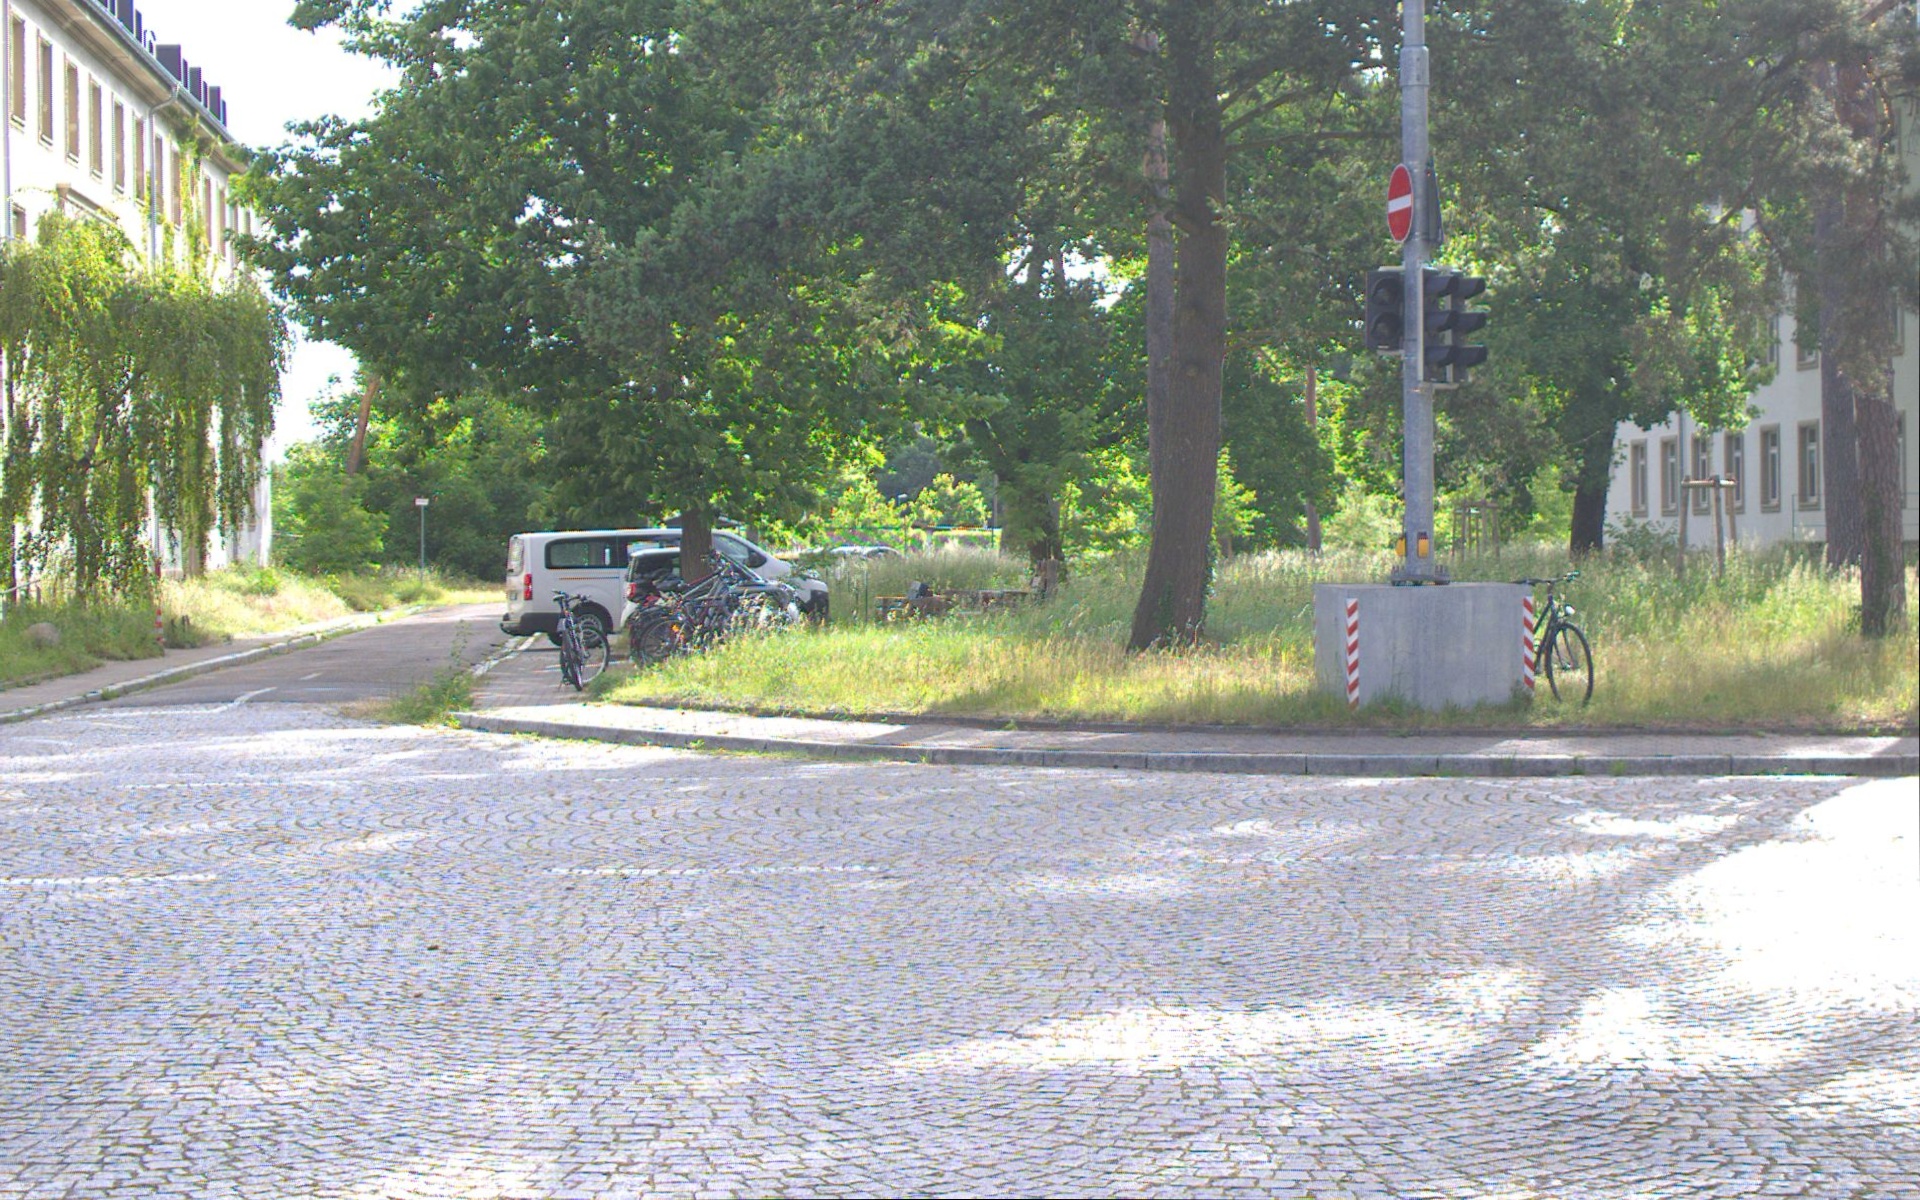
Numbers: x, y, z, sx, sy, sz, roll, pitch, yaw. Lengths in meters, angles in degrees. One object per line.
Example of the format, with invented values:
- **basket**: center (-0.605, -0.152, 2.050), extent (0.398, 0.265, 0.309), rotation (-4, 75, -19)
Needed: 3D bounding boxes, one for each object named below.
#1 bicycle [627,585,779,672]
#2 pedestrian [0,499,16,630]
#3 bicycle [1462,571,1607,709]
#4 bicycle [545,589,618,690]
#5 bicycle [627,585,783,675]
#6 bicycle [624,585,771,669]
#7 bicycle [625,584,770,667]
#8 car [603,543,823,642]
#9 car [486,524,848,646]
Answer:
- **bicycle**: center (-3.100, 0.338, 41.414), extent (1.792, 0.995, 0.644), rotation (-1, 2, -6)
- **pedestrian**: center (-14.812, -0.532, 51.775), extent (0.985, 1.956, 0.933), rotation (0, 0, -6)
- **bicycle**: center (4.463, 0.295, 26.810), extent (0.562, 0.995, 1.752), rotation (-1, 2, -9)
- **bicycle**: center (-4.036, 0.410, 36.706), extent (0.728, 0.995, 1.799), rotation (-1, 2, -5)
- **bicycle**: center (-3.004, 0.343, 40.398), extent (1.792, 0.995, 0.644), rotation (-1, 2, -6)
- **bicycle**: center (-3.275, 0.328, 42.906), extent (1.792, 0.995, 0.644), rotation (-1, 2, -6)
- **bicycle**: center (-3.338, 0.322, 43.642), extent (1.792, 0.995, 0.644), rotation (-1, 2, -6)
- **car**: center (-3.800, -0.115, 52.743), extent (3.031, 1.460, 1.720), rotation (0, 0, -18)
- **car**: center (-4.800, -0.259, 56.236), extent (5.499, 1.909, 2.255), rotation (0, 0, -19)
